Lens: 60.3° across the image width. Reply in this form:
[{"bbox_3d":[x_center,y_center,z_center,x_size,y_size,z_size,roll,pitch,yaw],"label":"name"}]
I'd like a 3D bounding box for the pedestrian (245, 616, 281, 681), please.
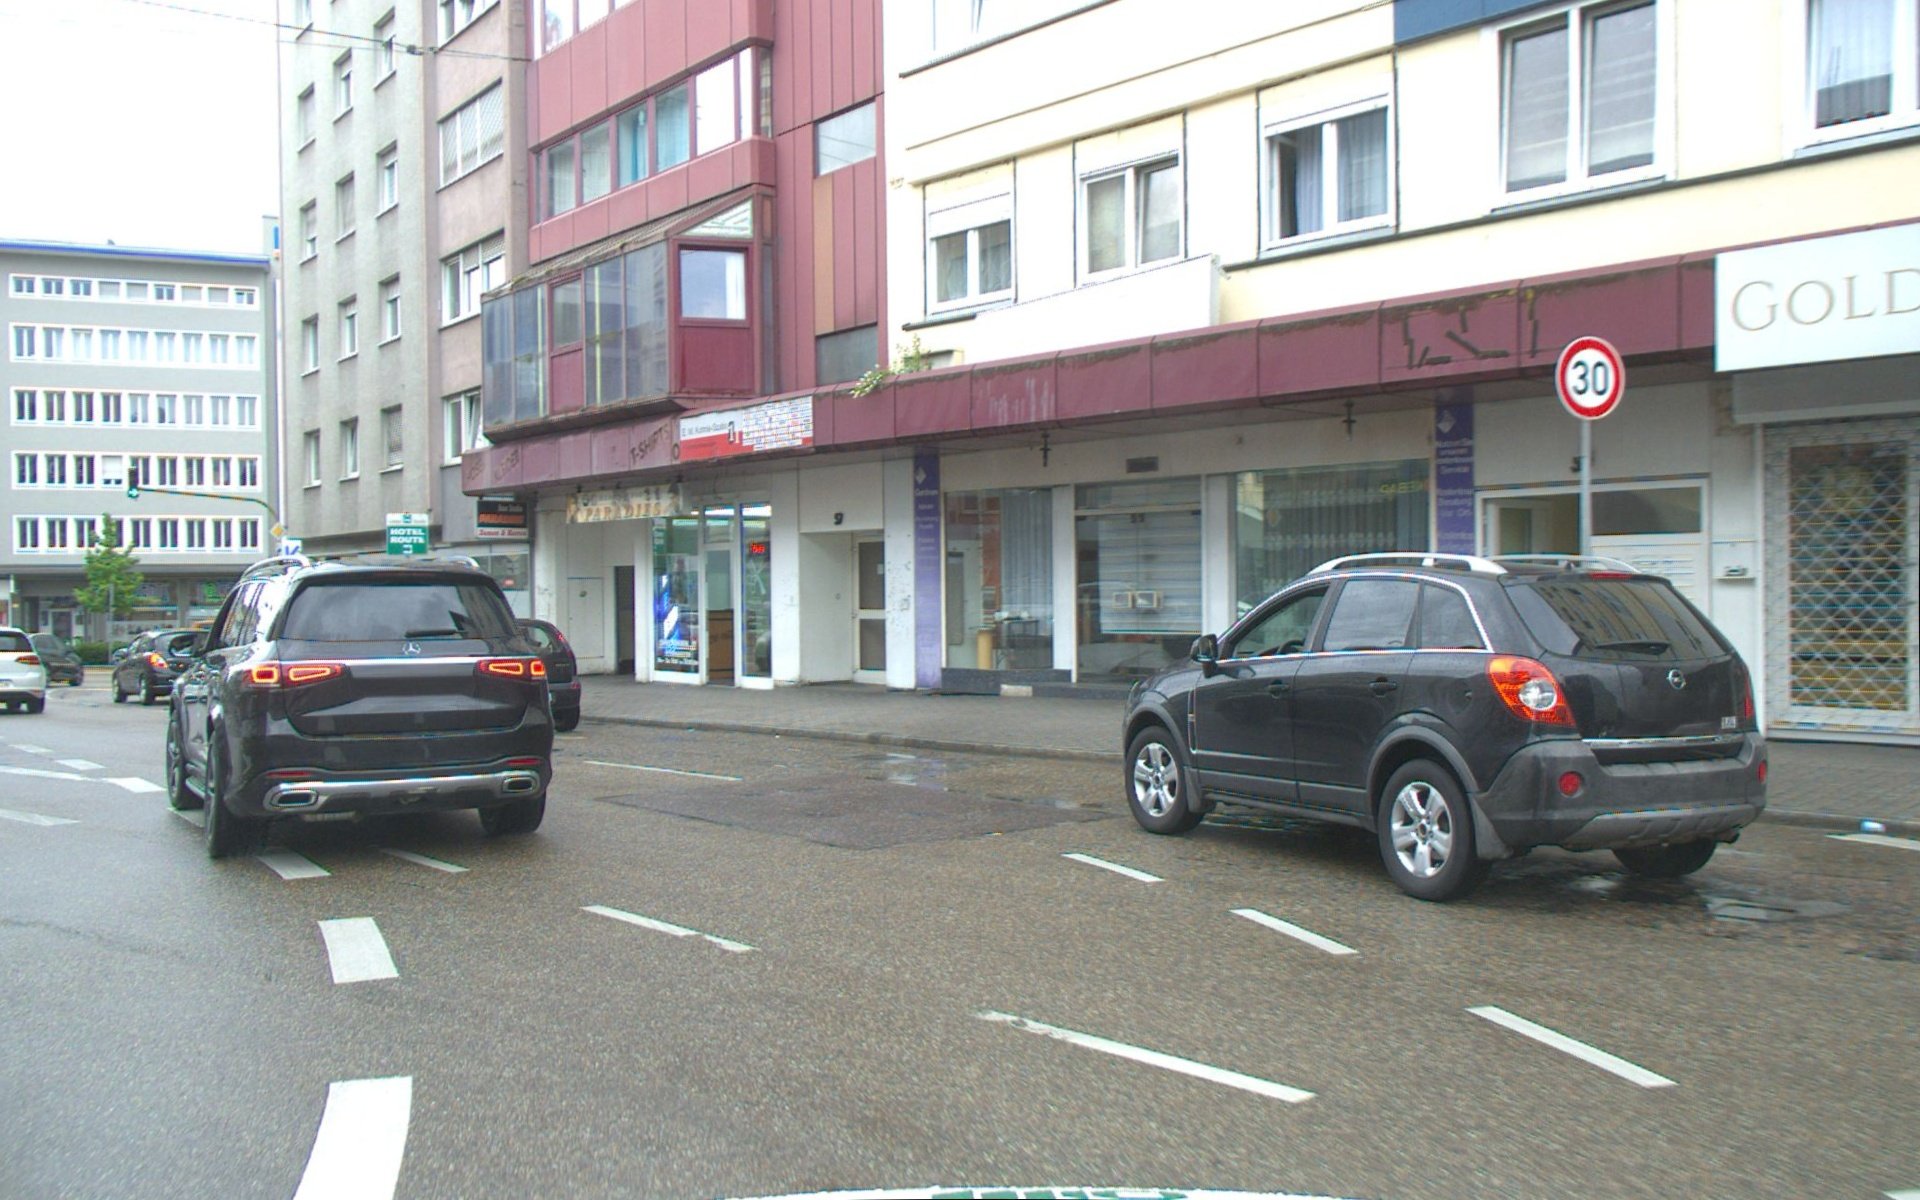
[{"bbox_3d":[-18.973,1.316,45.032,0.613,1.721,0.781,-3,-1,-4],"label":"pedestrian"}]

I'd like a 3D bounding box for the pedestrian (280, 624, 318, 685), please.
[{"bbox_3d":[-18.939,1.562,47.422,0.728,1.663,0.596,-5,-3,2],"label":"pedestrian"}]

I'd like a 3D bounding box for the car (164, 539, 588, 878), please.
[{"bbox_3d":[-4.302,0.584,11.622,2.065,1.849,4.746,-1,0,-29],"label":"car"}]

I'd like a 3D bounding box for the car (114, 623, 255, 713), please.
[{"bbox_3d":[-15.550,1.304,33.056,1.933,1.601,3.952,1,0,-34],"label":"car"}]

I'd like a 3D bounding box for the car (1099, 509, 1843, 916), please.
[{"bbox_3d":[2.657,0.502,9.741,1.882,1.817,4.270,0,0,-24],"label":"car"}]

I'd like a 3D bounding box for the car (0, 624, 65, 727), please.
[{"bbox_3d":[-17.017,1.264,28.795,1.935,1.601,3.947,1,0,-37],"label":"car"}]

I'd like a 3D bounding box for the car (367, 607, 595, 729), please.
[{"bbox_3d":[-6.306,0.869,21.527,1.703,1.445,3.721,0,-2,-36],"label":"car"}]
